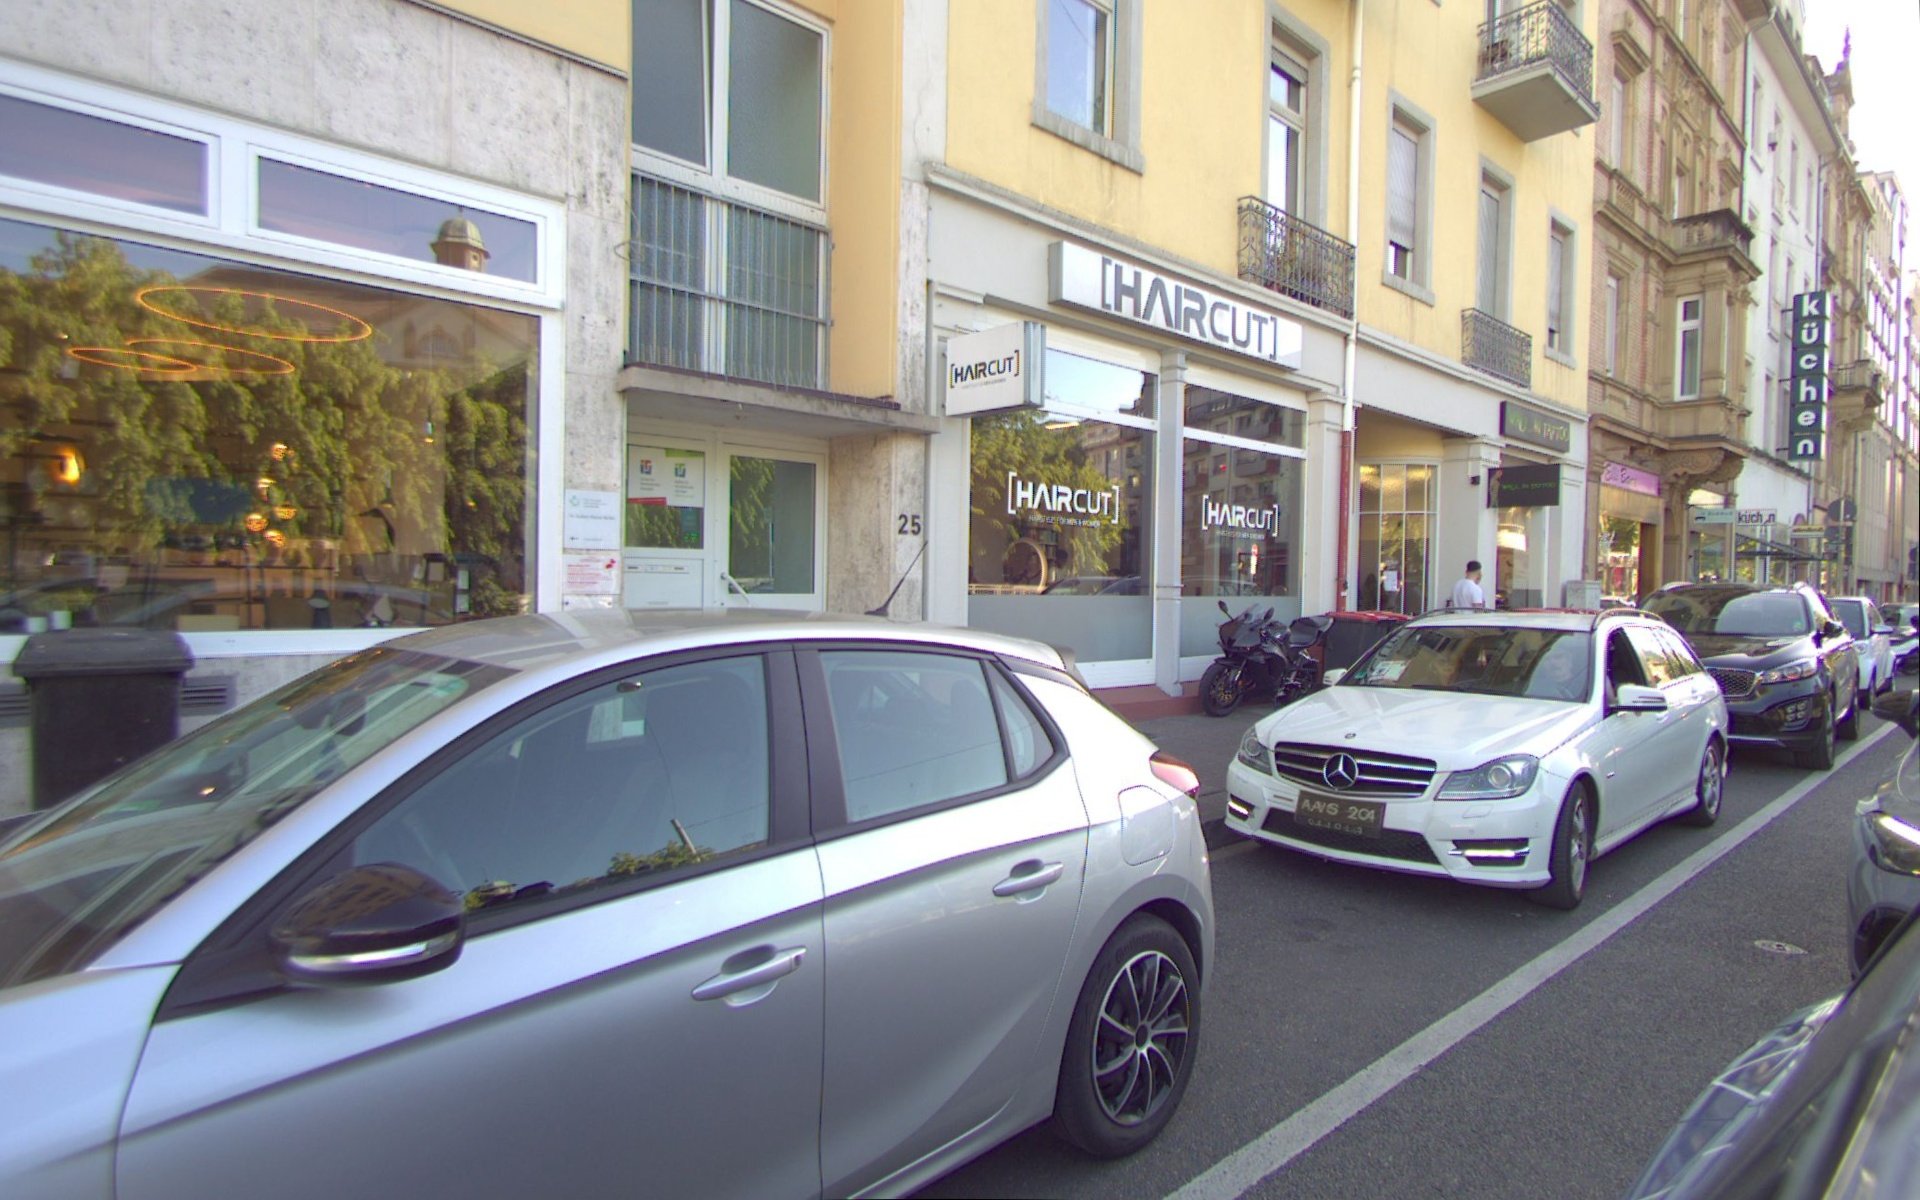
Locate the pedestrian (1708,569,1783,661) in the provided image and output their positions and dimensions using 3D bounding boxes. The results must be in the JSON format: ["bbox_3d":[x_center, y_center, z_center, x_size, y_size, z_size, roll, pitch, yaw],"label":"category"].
[{"bbox_3d":[15.189,0.279,19.578,0.802,1.741,0.839,0,0,-20],"label":"pedestrian"}]

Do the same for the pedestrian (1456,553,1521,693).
[{"bbox_3d":[7.255,0.297,13.889,0.627,1.859,0.760,0,0,41],"label":"pedestrian"}]

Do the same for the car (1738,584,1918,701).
[{"bbox_3d":[12.787,0.543,14.867,2.945,1.542,1.582,-1,0,-41],"label":"car"}]

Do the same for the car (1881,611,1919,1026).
[{"bbox_3d":[5.413,0.745,4.391,4.397,1.385,1.767,-1,1,-43],"label":"car"}]

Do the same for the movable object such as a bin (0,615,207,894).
[{"bbox_3d":[-3.658,0.595,4.338,0.639,1.036,0.737,0,0,-41],"label":"movable object such as a bin"}]

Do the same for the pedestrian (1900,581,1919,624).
[{"bbox_3d":[40.044,0.106,42.457,0.809,1.782,0.825,0,0,-42],"label":"pedestrian"}]

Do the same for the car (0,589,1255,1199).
[{"bbox_3d":[-0.990,0.711,2.322,3.625,1.455,1.585,-1,0,-43],"label":"car"}]

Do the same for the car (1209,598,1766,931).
[{"bbox_3d":[3.549,0.704,6.402,4.301,1.389,1.671,-1,0,-41],"label":"car"}]

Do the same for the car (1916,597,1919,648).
[{"bbox_3d":[26.625,0.571,26.942,3.306,1.334,1.459,-1,0,-42],"label":"car"}]

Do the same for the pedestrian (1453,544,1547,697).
[{"bbox_3d":[6.874,0.250,12.925,0.961,1.900,0.532,0,0,18],"label":"pedestrian"}]

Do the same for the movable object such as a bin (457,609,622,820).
[{"bbox_3d":[-2.311,0.577,5.552,0.639,1.036,0.737,0,0,-41],"label":"movable object such as a bin"}]

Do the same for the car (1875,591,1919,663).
[{"bbox_3d":[21.913,0.562,22.824,3.736,1.509,1.691,-1,0,-45],"label":"car"}]

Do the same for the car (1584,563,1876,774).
[{"bbox_3d":[8.025,0.526,10.381,4.338,1.711,1.802,-1,0,-45],"label":"car"}]

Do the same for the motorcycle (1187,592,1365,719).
[{"bbox_3d":[3.317,0.519,10.519,2.073,1.144,0.735,-1,5,-41],"label":"motorcycle"}]
